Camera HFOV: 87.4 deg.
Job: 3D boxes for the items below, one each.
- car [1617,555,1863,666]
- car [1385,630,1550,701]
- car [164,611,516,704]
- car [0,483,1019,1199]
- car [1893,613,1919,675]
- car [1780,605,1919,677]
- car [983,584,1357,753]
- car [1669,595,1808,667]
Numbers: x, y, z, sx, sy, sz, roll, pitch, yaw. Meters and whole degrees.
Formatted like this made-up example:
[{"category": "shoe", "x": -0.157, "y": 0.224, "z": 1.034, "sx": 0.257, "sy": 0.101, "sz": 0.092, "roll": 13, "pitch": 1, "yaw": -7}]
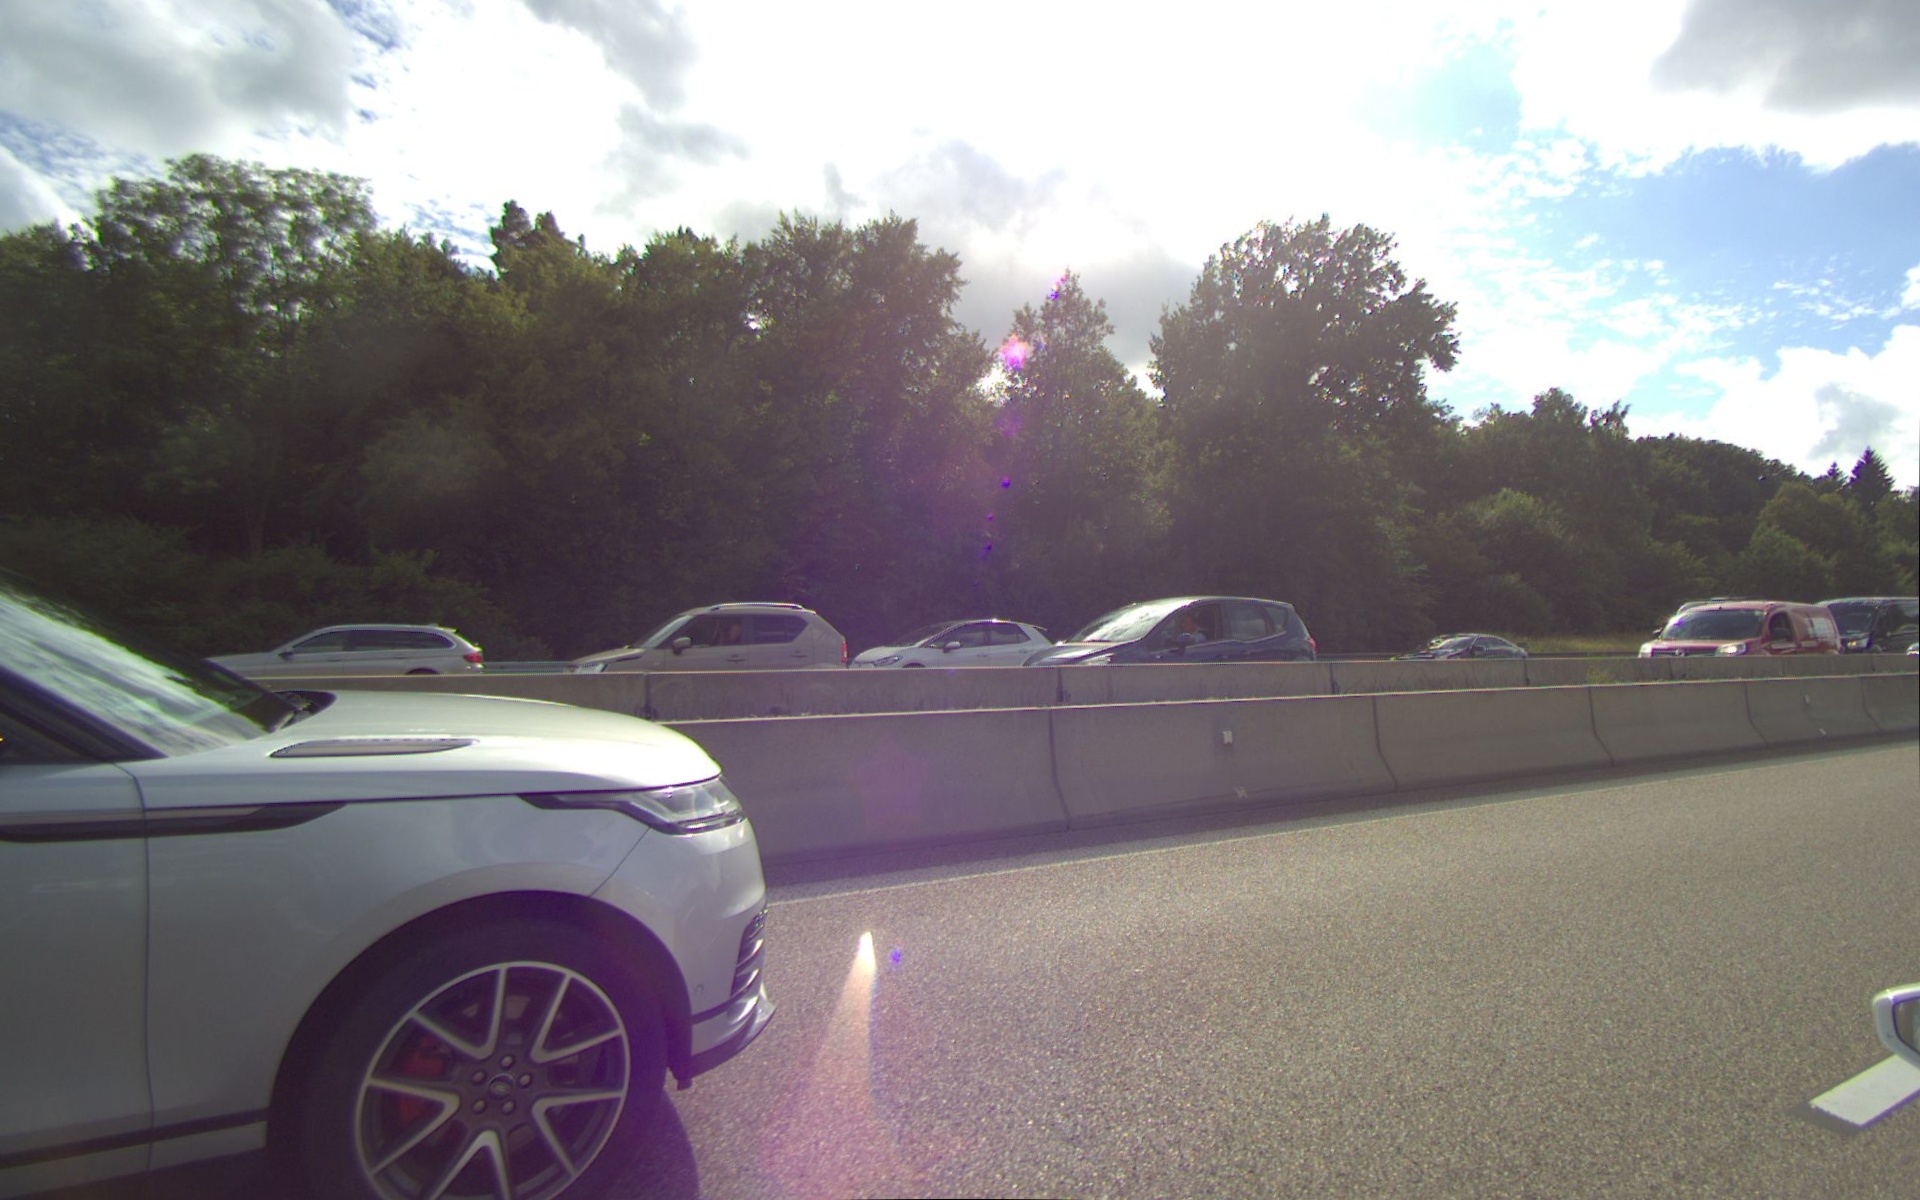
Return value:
[{"category": "car", "x": 14.381, "y": 0.223, "z": 18.424, "sx": 5.235, "sy": 1.786, "sz": 1.865, "roll": 1, "pitch": 0, "yaw": -32}, {"category": "car", "x": 14.138, "y": 1.772, "z": 27.960, "sx": 4.405, "sy": 1.786, "sz": 1.985, "roll": 1, "pitch": 0, "yaw": -29}, {"category": "car", "x": -10.646, "y": 1.034, "z": 17.697, "sx": 5.012, "sy": 1.419, "sz": 1.705, "roll": 3, "pitch": -1, "yaw": -29}, {"category": "car", "x": -2.491, "y": 0.593, "z": 2.383, "sx": 5.046, "sy": 1.628, "sz": 1.891, "roll": 2, "pitch": -1, "yaw": -30}, {"category": "car", "x": 27.332, "y": 1.211, "z": 26.862, "sx": 5.144, "sy": 1.593, "sz": 1.985, "roll": 1, "pitch": 0, "yaw": -29}, {"category": "car", "x": 28.511, "y": 1.265, "z": 31.762, "sx": 5.775, "sy": 2.059, "sz": 1.985, "roll": 1, "pitch": 0, "yaw": -29}, {"category": "car", "x": 2.672, "y": 0.811, "z": 12.528, "sx": 4.405, "sy": 1.786, "sz": 1.850, "roll": 3, "pitch": -1, "yaw": -29}, {"category": "car", "x": 27.620, "y": 1.088, "z": 35.596, "sx": 5.265, "sy": 2.405, "sz": 1.985, "roll": 1, "pitch": 0, "yaw": -29}]
